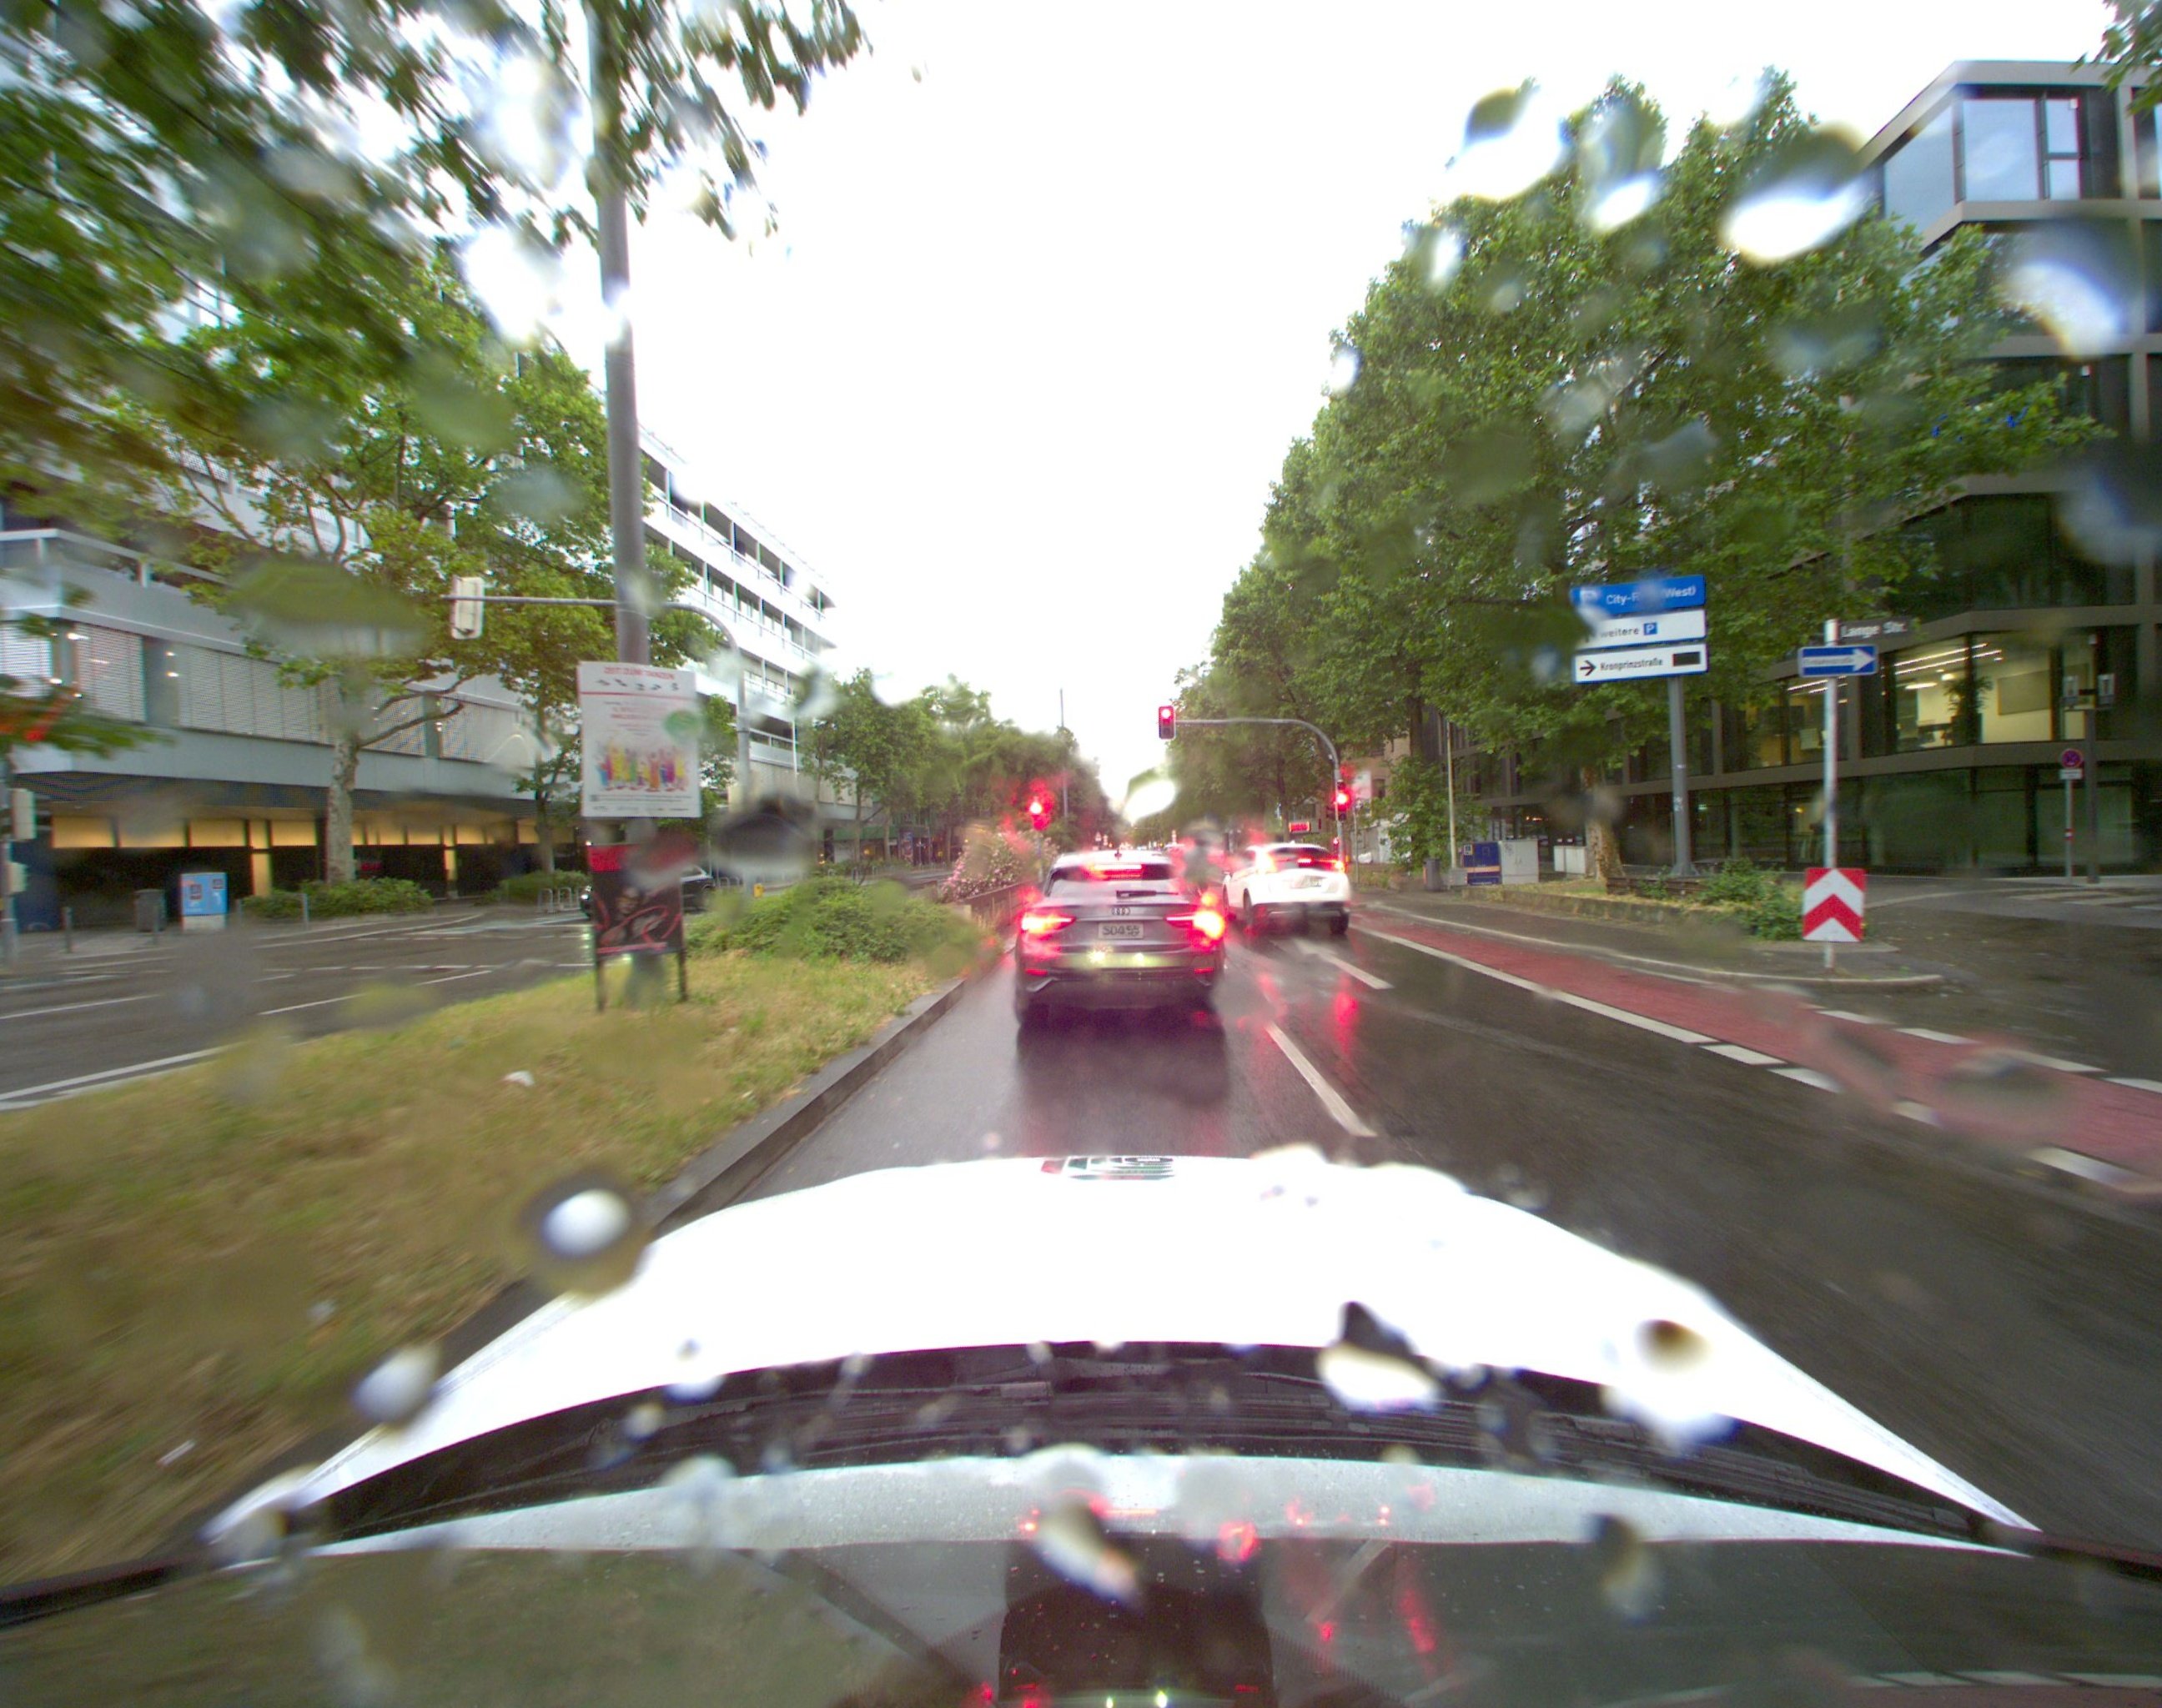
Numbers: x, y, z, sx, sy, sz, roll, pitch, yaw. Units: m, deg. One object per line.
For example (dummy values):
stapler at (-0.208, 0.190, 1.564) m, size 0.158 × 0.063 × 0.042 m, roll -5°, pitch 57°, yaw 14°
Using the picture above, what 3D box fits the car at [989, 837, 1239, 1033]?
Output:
car at (0.354, 0.602, 8.382) m, size 1.911 × 1.491 × 4.003 m, roll -2°, pitch 1°, yaw 3°

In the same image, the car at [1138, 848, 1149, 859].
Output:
car at (10.164, -0.091, 133.327) m, size 1.614 × 1.666 × 4.003 m, roll -2°, pitch 1°, yaw 3°

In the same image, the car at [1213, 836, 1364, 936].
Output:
car at (3.964, 0.538, 16.467) m, size 1.985 × 1.655 × 4.892 m, roll -2°, pitch 0°, yaw 3°

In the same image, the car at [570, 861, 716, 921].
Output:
car at (-13.125, 1.045, 24.760) m, size 1.821 × 1.552 × 4.196 m, roll -2°, pitch 0°, yaw 6°
